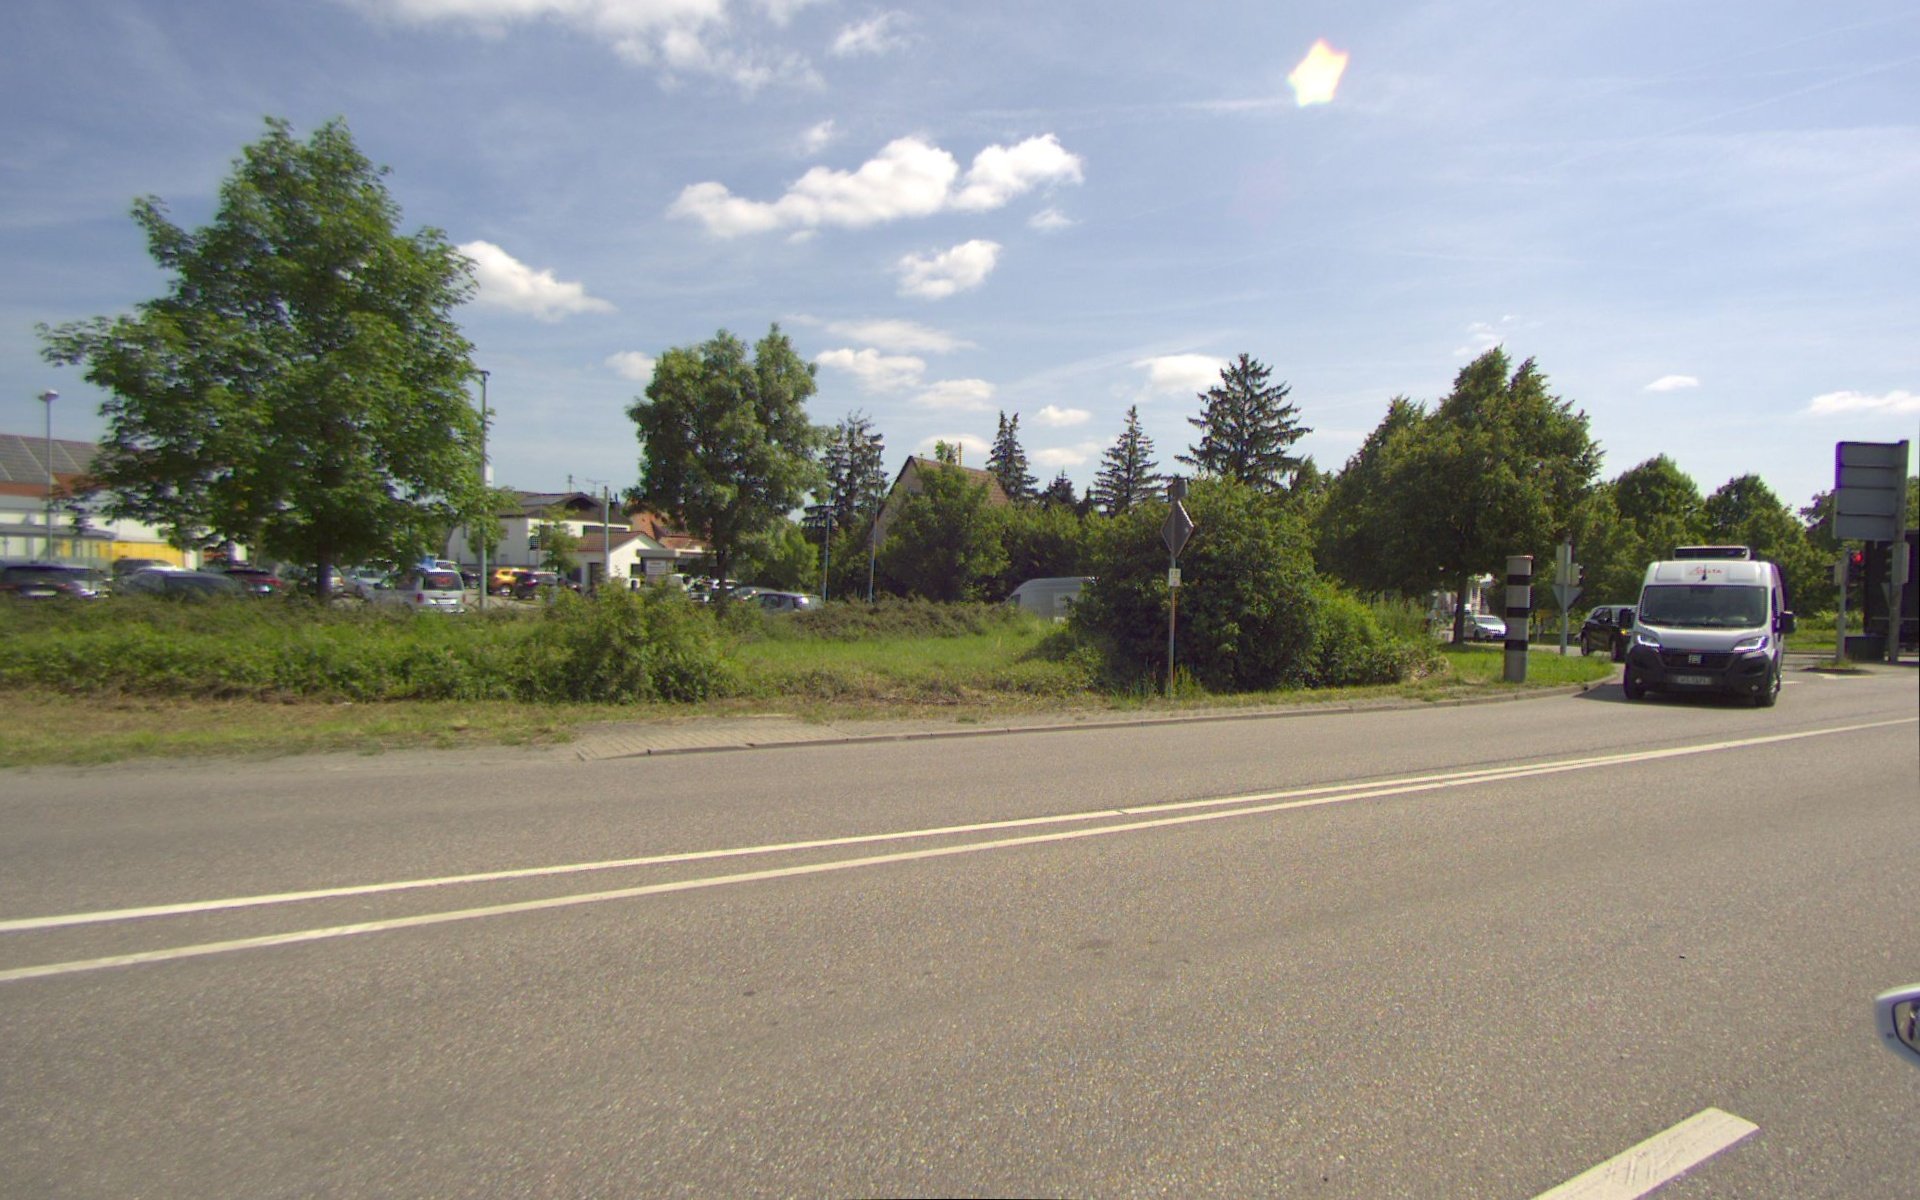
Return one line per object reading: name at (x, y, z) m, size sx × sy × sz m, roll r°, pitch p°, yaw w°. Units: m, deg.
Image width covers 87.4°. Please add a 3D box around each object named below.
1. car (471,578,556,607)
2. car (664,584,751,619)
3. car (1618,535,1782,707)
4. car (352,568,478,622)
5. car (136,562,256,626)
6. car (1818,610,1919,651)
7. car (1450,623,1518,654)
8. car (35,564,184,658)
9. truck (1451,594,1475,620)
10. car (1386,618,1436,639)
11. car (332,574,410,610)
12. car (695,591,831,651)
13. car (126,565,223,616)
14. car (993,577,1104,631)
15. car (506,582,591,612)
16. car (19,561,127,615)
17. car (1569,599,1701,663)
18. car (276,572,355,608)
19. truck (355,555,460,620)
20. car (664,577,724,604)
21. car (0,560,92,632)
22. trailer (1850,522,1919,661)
car at (-26.444, -0.453, 59.658) m, size 1.849 × 1.562 × 4.243 m, roll 2°, pitch 0°, yaw 37°
car at (-12.902, 0.086, 51.445) m, size 1.883 × 1.662 × 3.984 m, roll 2°, pitch 0°, yaw 38°
car at (13.835, 0.330, 18.619) m, size 2.092 × 2.690 × 5.958 m, roll 1°, pitch 0°, yaw 39°
car at (-18.641, -0.186, 34.317) m, size 4.353 × 1.717 × 1.994 m, roll 1°, pitch 0°, yaw 34°
car at (-22.173, -0.180, 29.109) m, size 3.939 × 1.711 × 1.918 m, roll 2°, pitch 0°, yaw 40°
car at (38.227, 1.251, 41.502) m, size 1.838 × 1.568 × 4.110 m, roll 2°, pitch 0°, yaw -4°
car at (27.726, 2.026, 53.258) m, size 1.759 × 1.436 × 4.049 m, roll 0°, pitch 1°, yaw 5°
car at (-16.885, 0.187, 19.886) m, size 3.941 × 1.679 × 1.686 m, roll 2°, pitch 0°, yaw 42°
truck at (78.035, 1.060, 155.708) m, size 2.894 × 3.848 × 7.911 m, roll 1°, pitch 0°, yaw 30°
car at (30.518, 1.913, 68.094) m, size 1.707 × 1.322 × 4.283 m, roll 1°, pitch 0°, yaw 4°
car at (-28.330, -0.395, 48.252) m, size 4.193 × 1.562 × 1.871 m, roll 2°, pitch 0°, yaw 40°
car at (-6.405, 0.658, 32.620) m, size 3.928 × 1.751 × 1.997 m, roll 2°, pitch 0°, yaw 29°
car at (-25.835, -0.320, 32.987) m, size 3.941 × 1.549 × 1.770 m, roll 2°, pitch 0°, yaw 41°
car at (3.890, 0.135, 44.658) m, size 4.524 × 2.209 × 1.992 m, roll 2°, pitch 1°, yaw 37°
car at (-23.866, -0.166, 58.401) m, size 1.849 × 1.562 × 4.243 m, roll 2°, pitch 0°, yaw 37°
car at (-27.551, -0.391, 31.173) m, size 3.936 × 1.549 × 1.772 m, roll 2°, pitch 0°, yaw 37°
car at (20.595, 0.920, 30.858) m, size 1.834 × 1.773 × 4.113 m, roll 2°, pitch 0°, yaw 10°
car at (-29.608, -0.472, 46.109) m, size 4.193 × 1.562 × 1.871 m, roll 2°, pitch 0°, yaw 40°
truck at (-21.662, -0.504, 39.347) m, size 3.932 × 2.397 × 1.994 m, roll 2°, pitch 0°, yaw 34°
car at (-19.487, -0.695, 73.842) m, size 1.866 × 1.782 × 3.988 m, roll 2°, pitch 0°, yaw 35°
car at (-24.131, -0.146, 25.990) m, size 3.939 × 1.697 × 1.903 m, roll 3°, pitch 1°, yaw 40°
trailer at (30.913, -0.201, 25.171) m, size 2.751 × 4.116 × 13.687 m, roll 0°, pitch 0°, yaw -15°
